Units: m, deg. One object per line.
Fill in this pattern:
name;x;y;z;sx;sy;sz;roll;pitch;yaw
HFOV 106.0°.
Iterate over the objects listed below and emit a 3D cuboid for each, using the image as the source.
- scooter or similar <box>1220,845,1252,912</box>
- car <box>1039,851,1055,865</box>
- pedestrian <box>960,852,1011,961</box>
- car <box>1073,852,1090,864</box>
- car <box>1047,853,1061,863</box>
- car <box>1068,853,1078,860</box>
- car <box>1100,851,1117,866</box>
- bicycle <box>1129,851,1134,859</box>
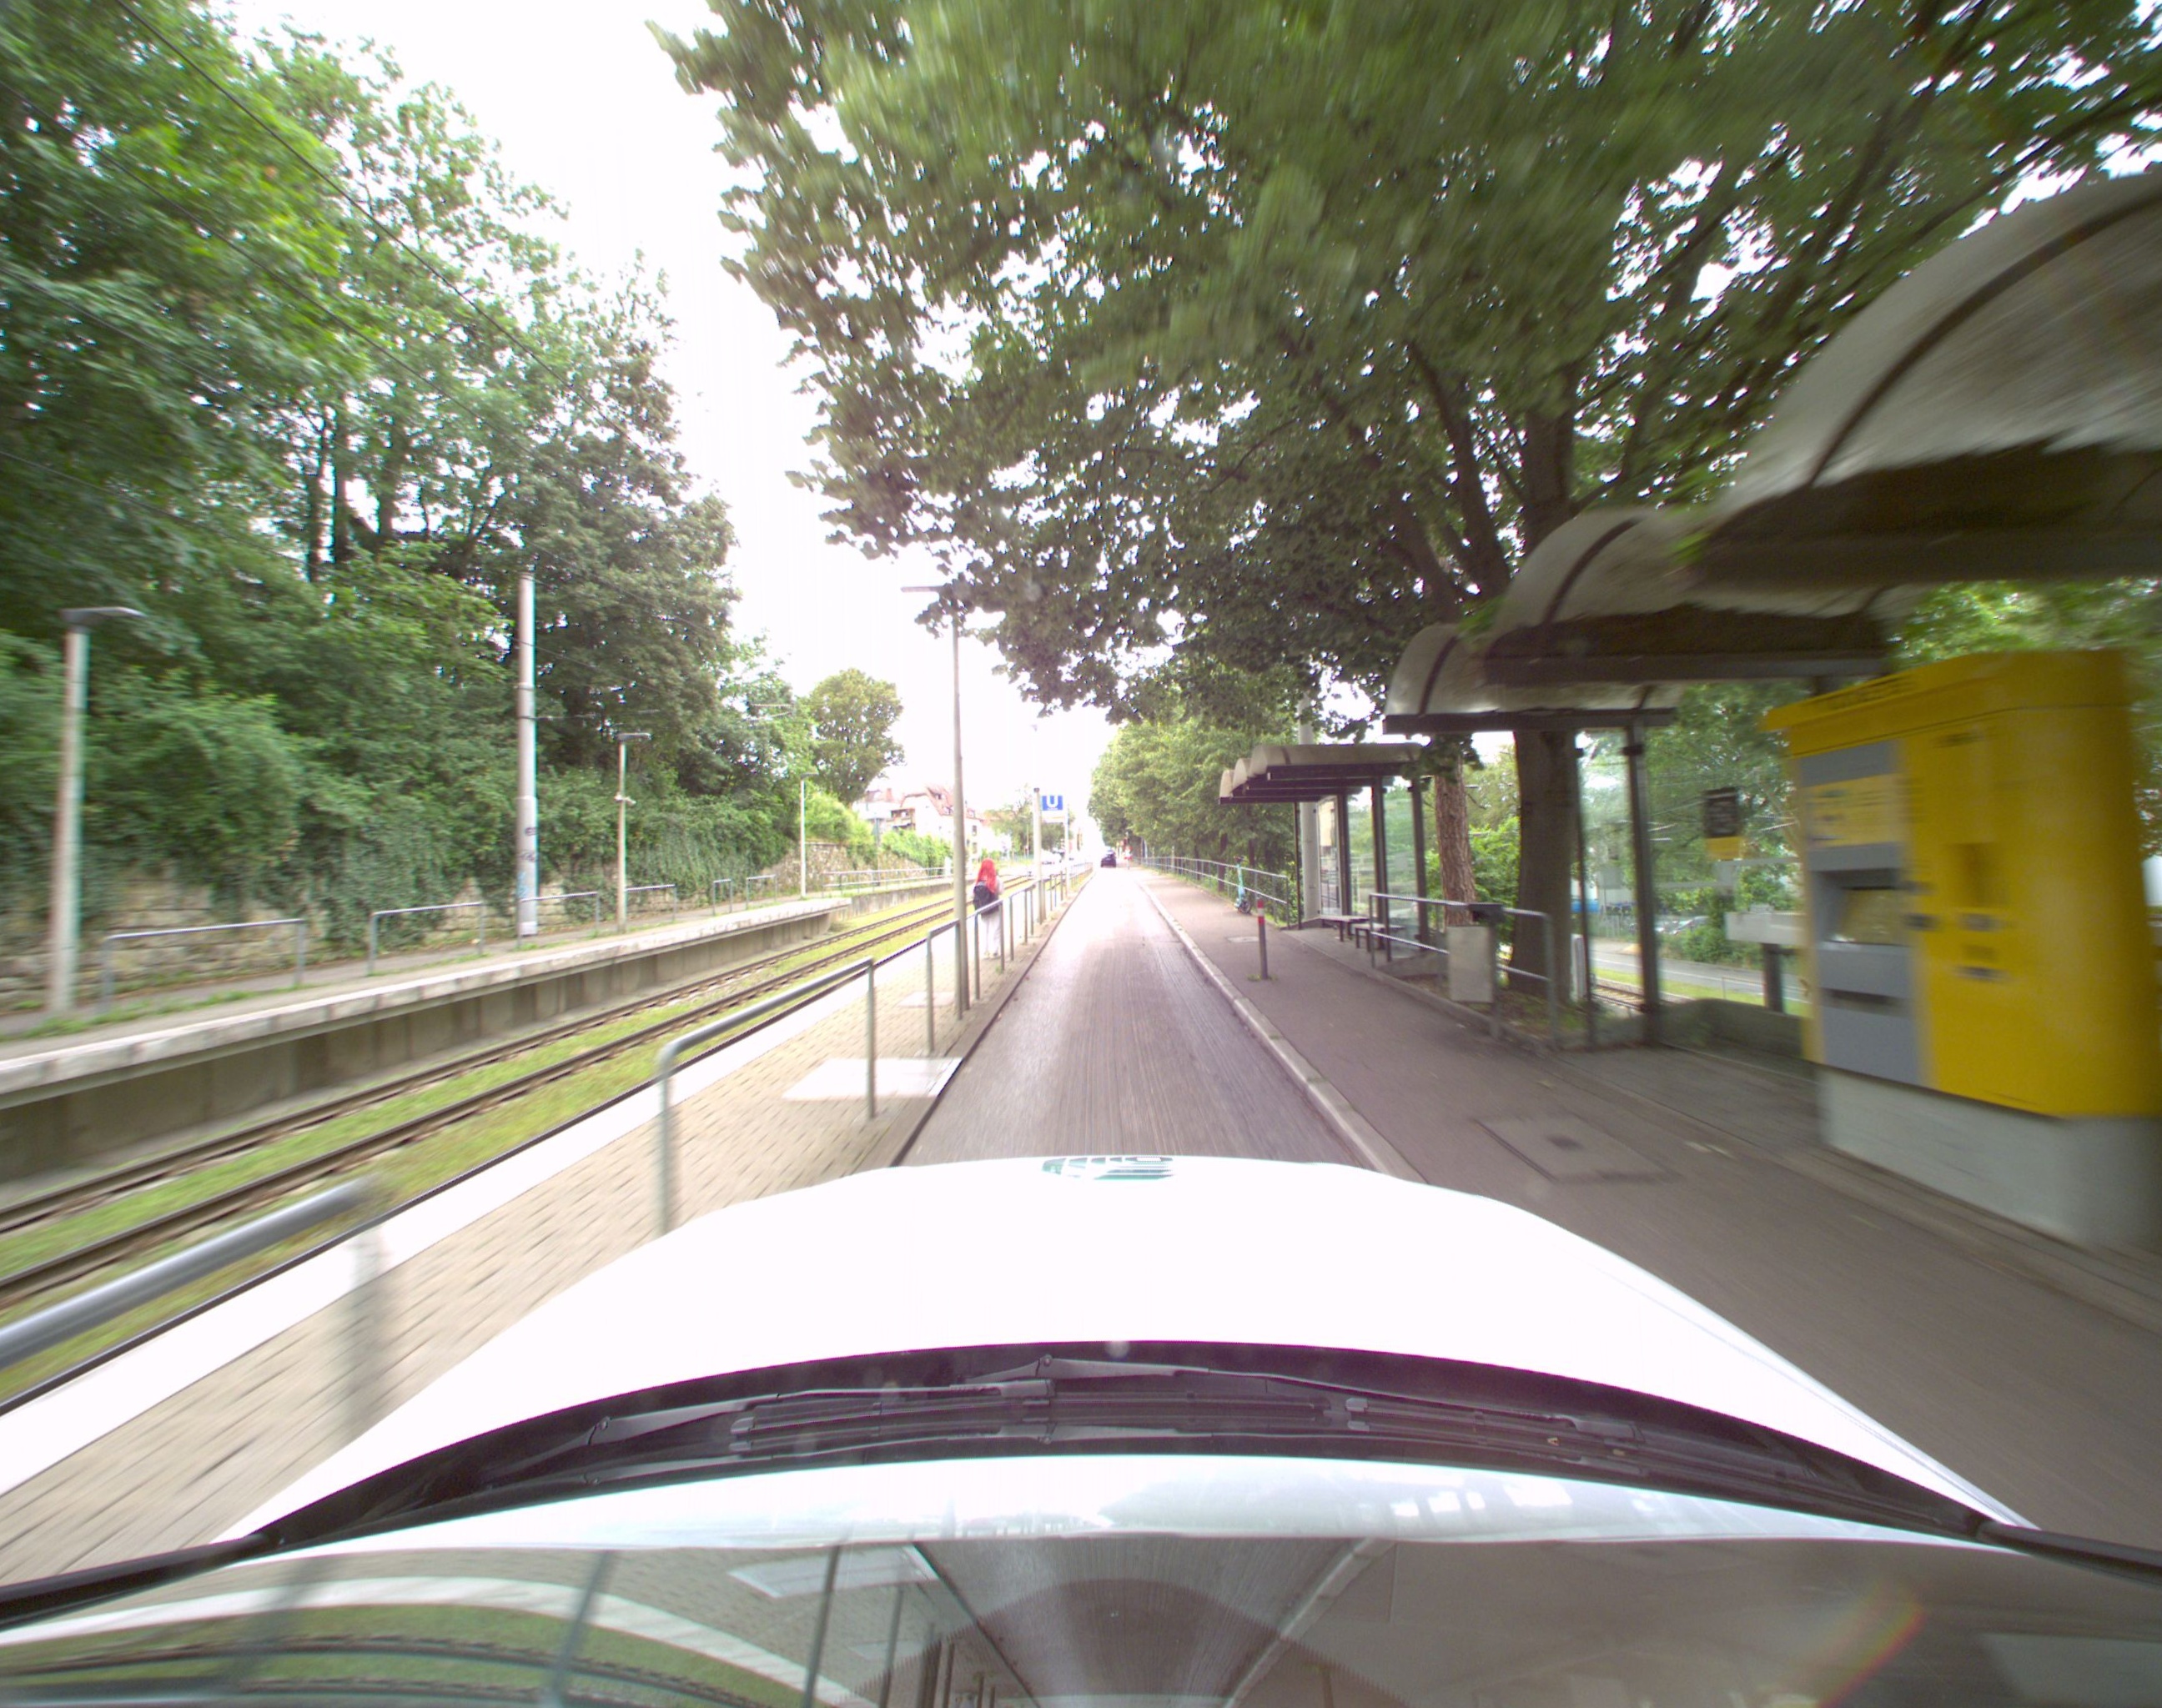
scooter or similar;3.382;0.526;17.847;0.428;1.384;1.456;-1;-1;2
car;-5.042;0.602;120.615;2.029;1.881;4.885;-4;-1;1
pedestrian;-1.364;0.727;11.721;0.623;1.502;0.739;-1;1;-1
car;0.123;0.483;105.633;1.986;1.498;4.314;-1;-1;2
car;-4.478;0.654;135.064;1.878;1.526;4.666;-3;0;2
car;-1.969;0.582;201.314;1.985;1.808;4.003;-1;-1;3
car;3.209;0.500;94.848;1.896;1.615;4.604;0;0;3
bicycle;7.084;0.141;114.118;0.427;0.976;1.790;-1;-1;-8
